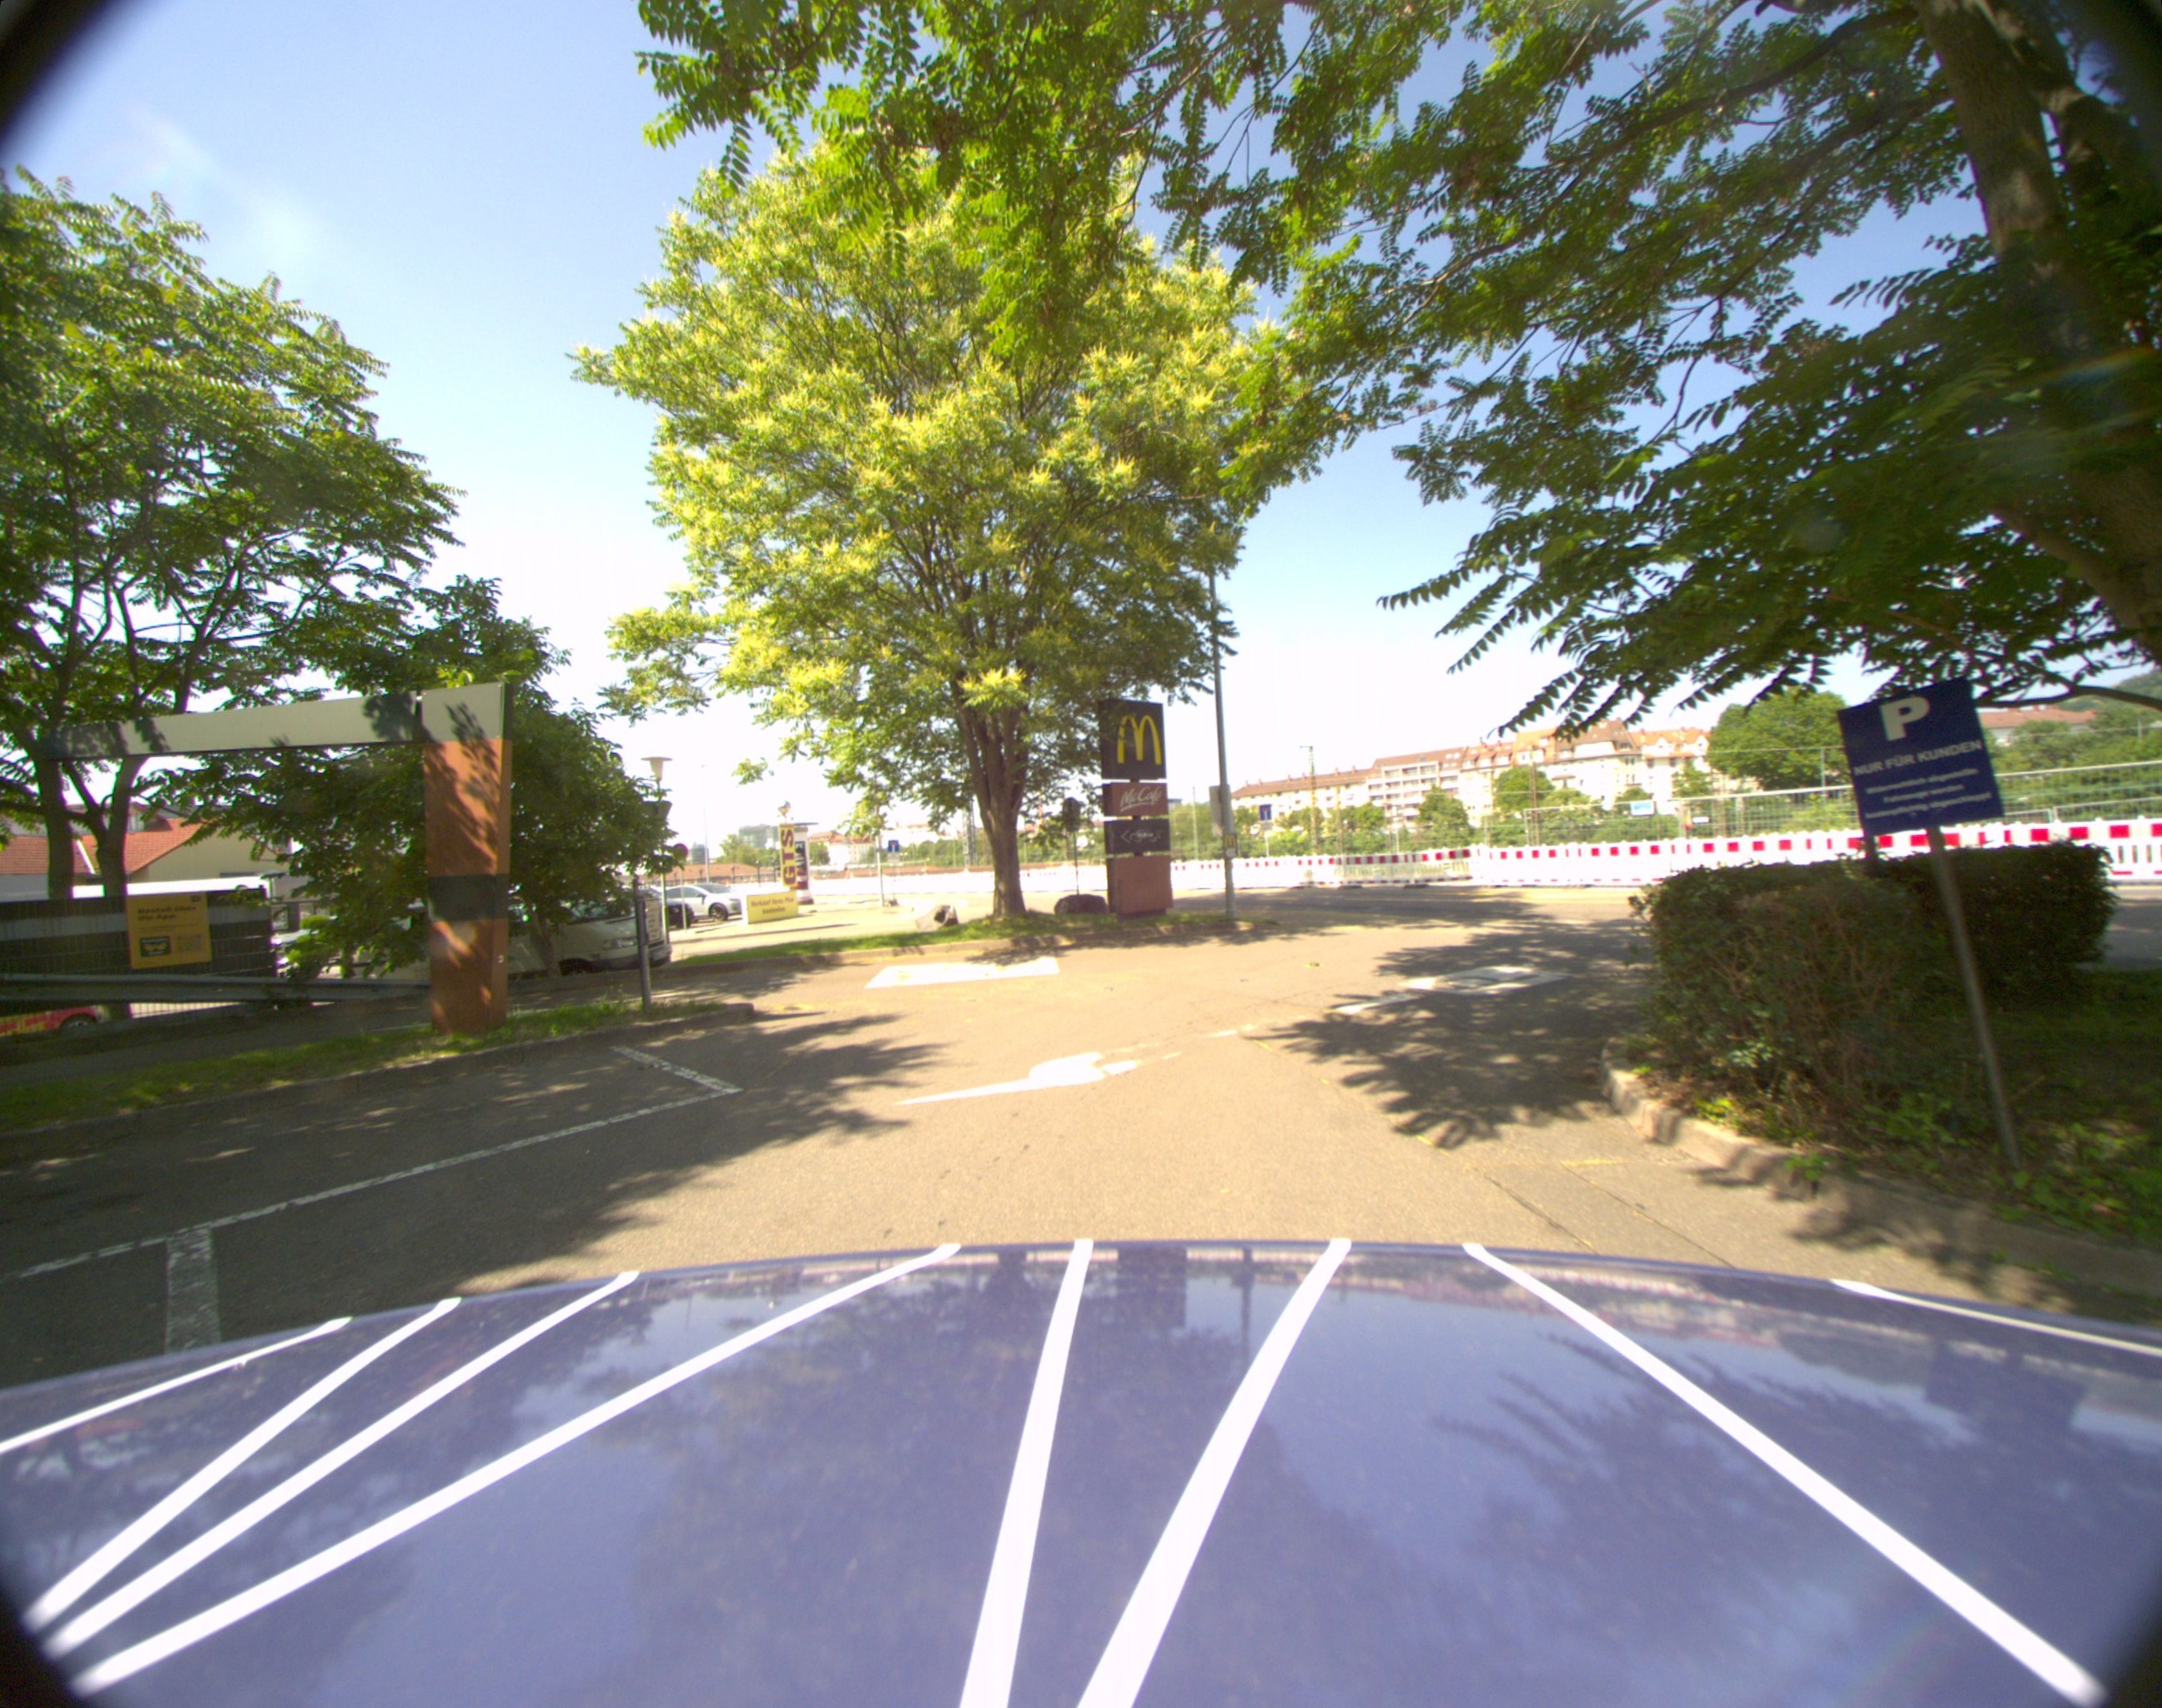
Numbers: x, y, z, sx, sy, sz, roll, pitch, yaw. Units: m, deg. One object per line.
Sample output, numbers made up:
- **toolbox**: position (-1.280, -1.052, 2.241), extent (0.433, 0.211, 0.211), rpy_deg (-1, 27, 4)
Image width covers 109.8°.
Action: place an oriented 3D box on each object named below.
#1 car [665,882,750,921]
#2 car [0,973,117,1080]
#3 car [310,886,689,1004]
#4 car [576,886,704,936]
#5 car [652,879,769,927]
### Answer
- **car**: position (-17.719, 2.252, 35.980), extent (3.990, 1.619, 1.866), rpy_deg (-4, 0, 36)
- **car**: position (-17.140, 2.764, 11.296), extent (1.486, 1.371, 3.412), rpy_deg (-2, 1, -9)
- **car**: position (-9.879, 1.508, 13.216), extent (5.027, 1.573, 1.958), rpy_deg (-3, -1, 0)
- **car**: position (-16.732, 2.174, 28.808), extent (4.413, 1.585, 2.057), rpy_deg (-4, -1, 28)
- **car**: position (-15.518, 2.040, 31.905), extent (3.993, 1.715, 2.002), rpy_deg (-4, -1, 16)
